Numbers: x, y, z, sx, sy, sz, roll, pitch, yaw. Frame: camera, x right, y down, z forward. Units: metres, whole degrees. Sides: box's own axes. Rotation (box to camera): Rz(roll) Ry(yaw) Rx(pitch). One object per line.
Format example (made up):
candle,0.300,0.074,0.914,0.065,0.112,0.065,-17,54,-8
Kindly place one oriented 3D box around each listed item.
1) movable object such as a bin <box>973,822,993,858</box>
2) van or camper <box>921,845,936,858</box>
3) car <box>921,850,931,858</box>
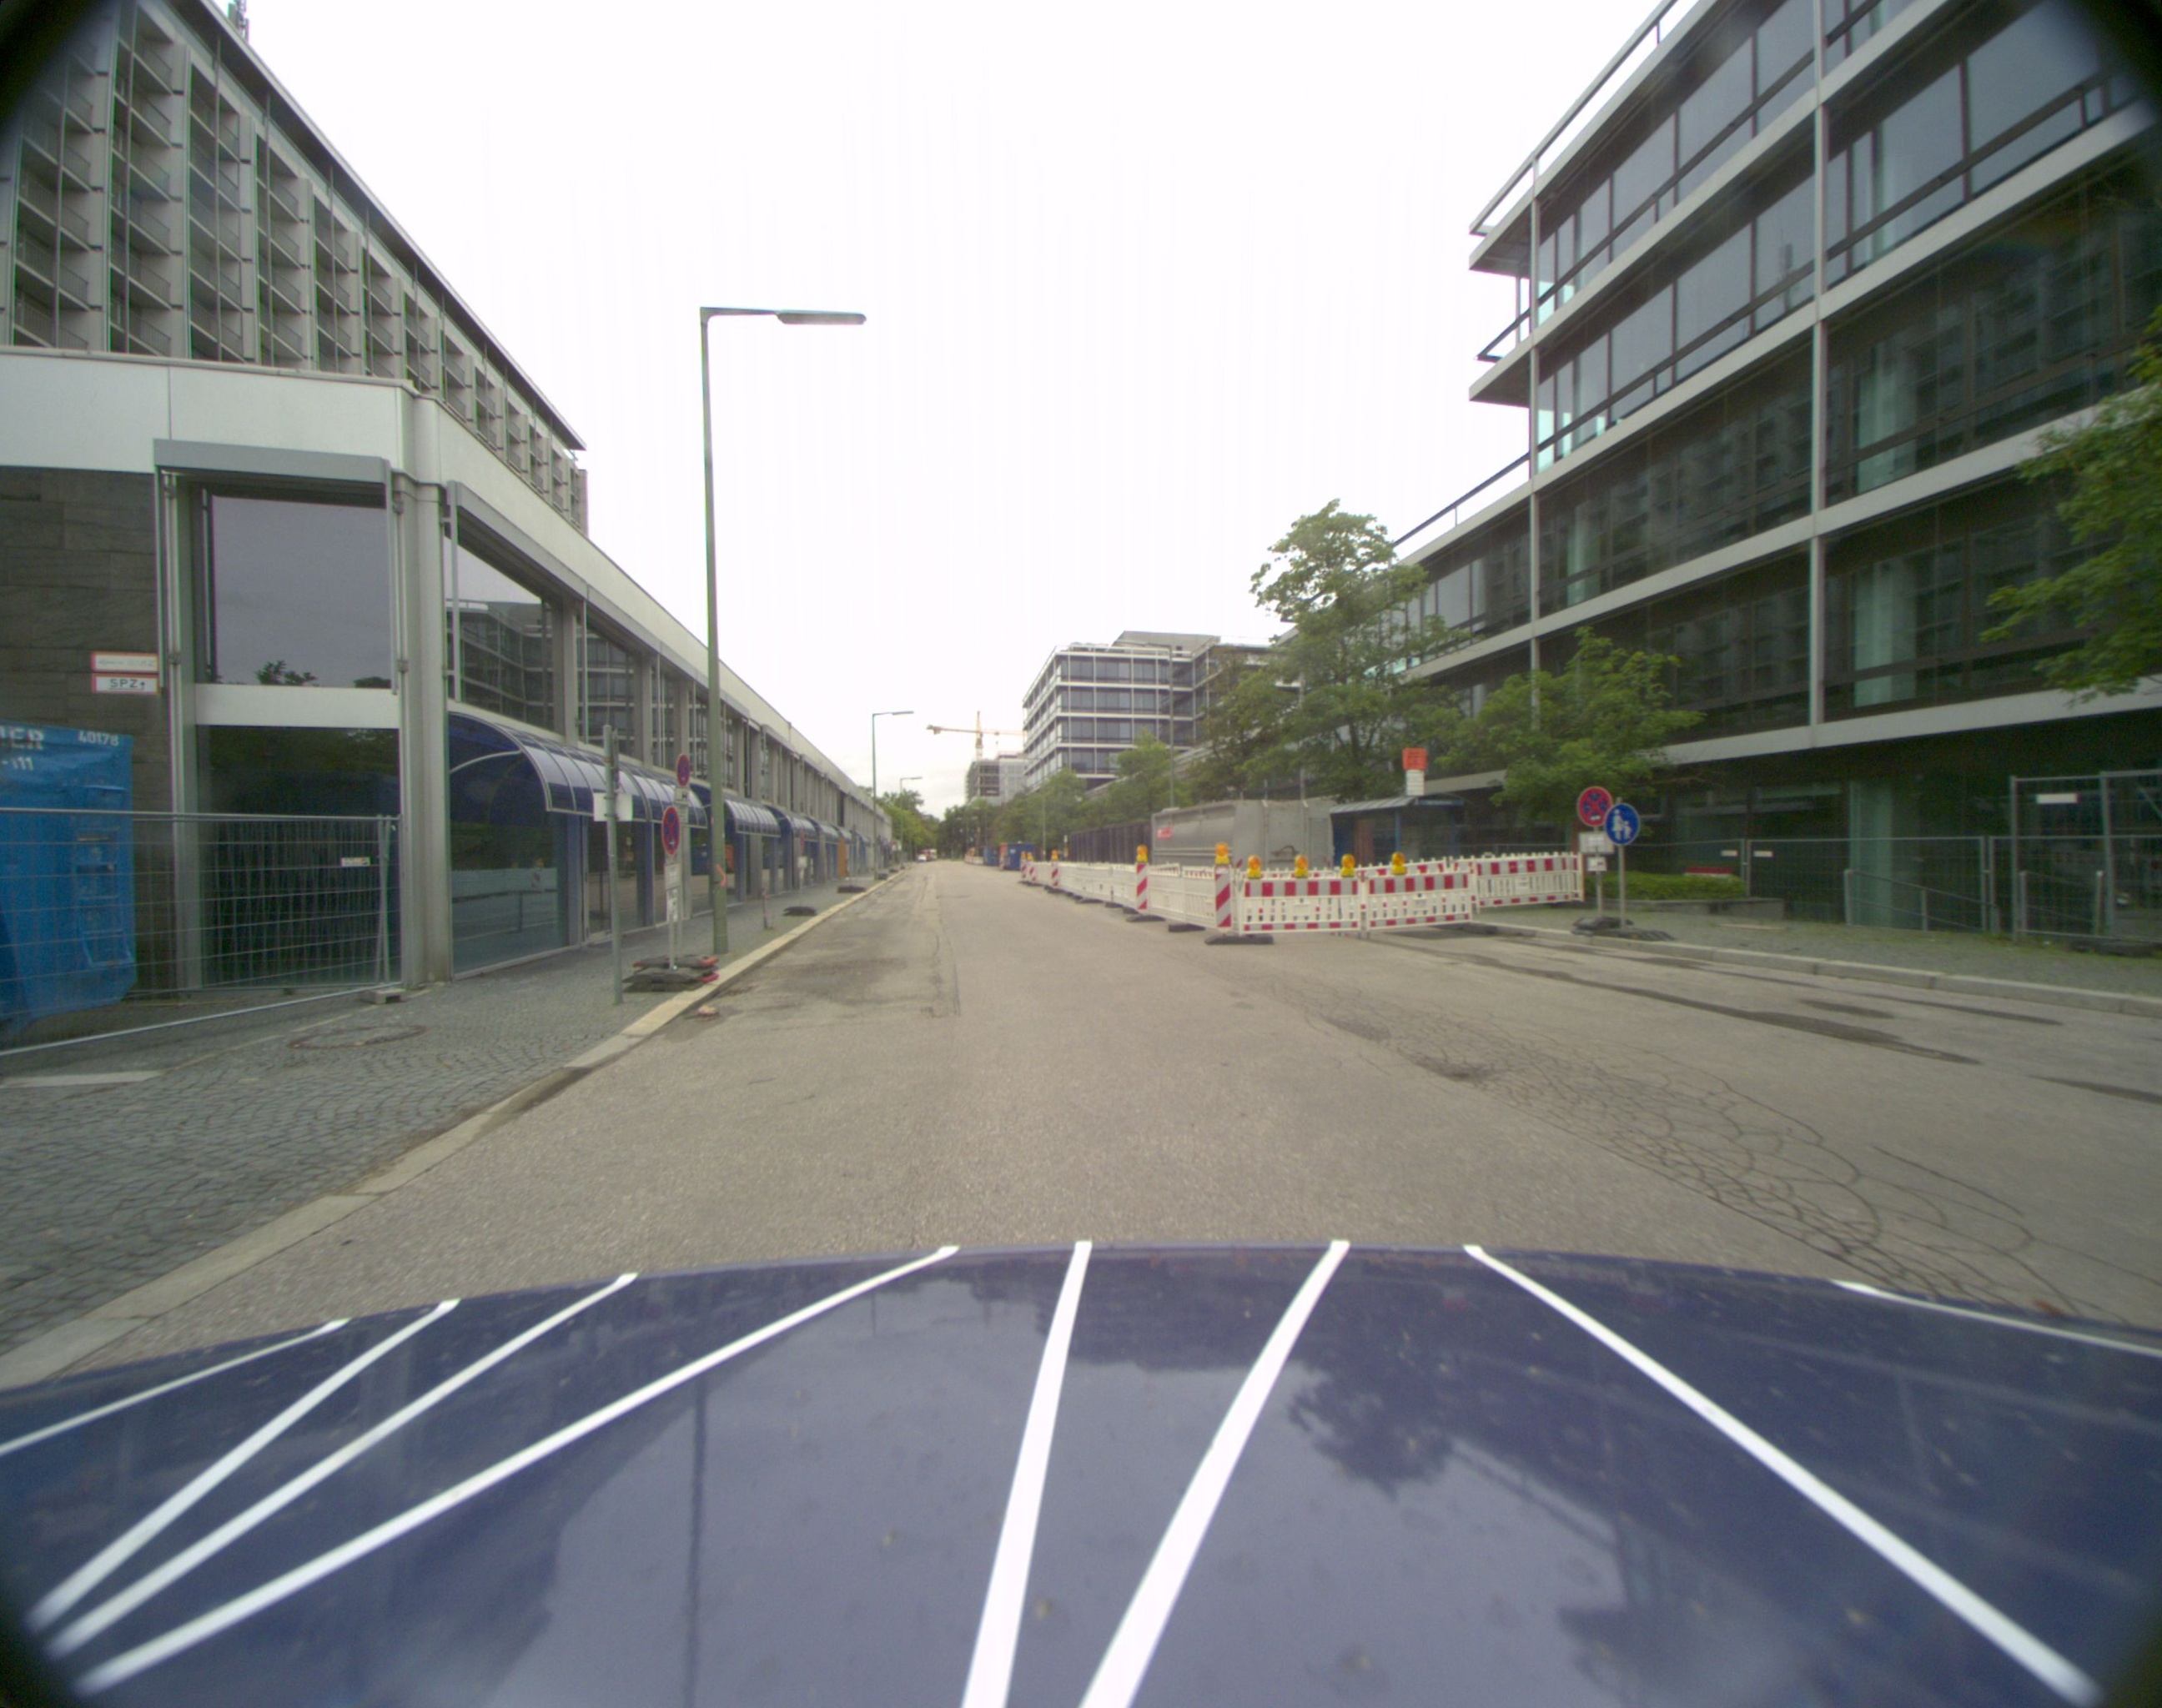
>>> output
movable object such as a bin,-17.442,-2.434,135.399,3.244,6.286,8.328,-1,1,-8
van or camper,-33.159,-0.538,165.209,2.669,2.751,6.909,-1,1,-8
car,-32.360,0.078,158.984,1.914,1.627,3.996,-1,1,-9
